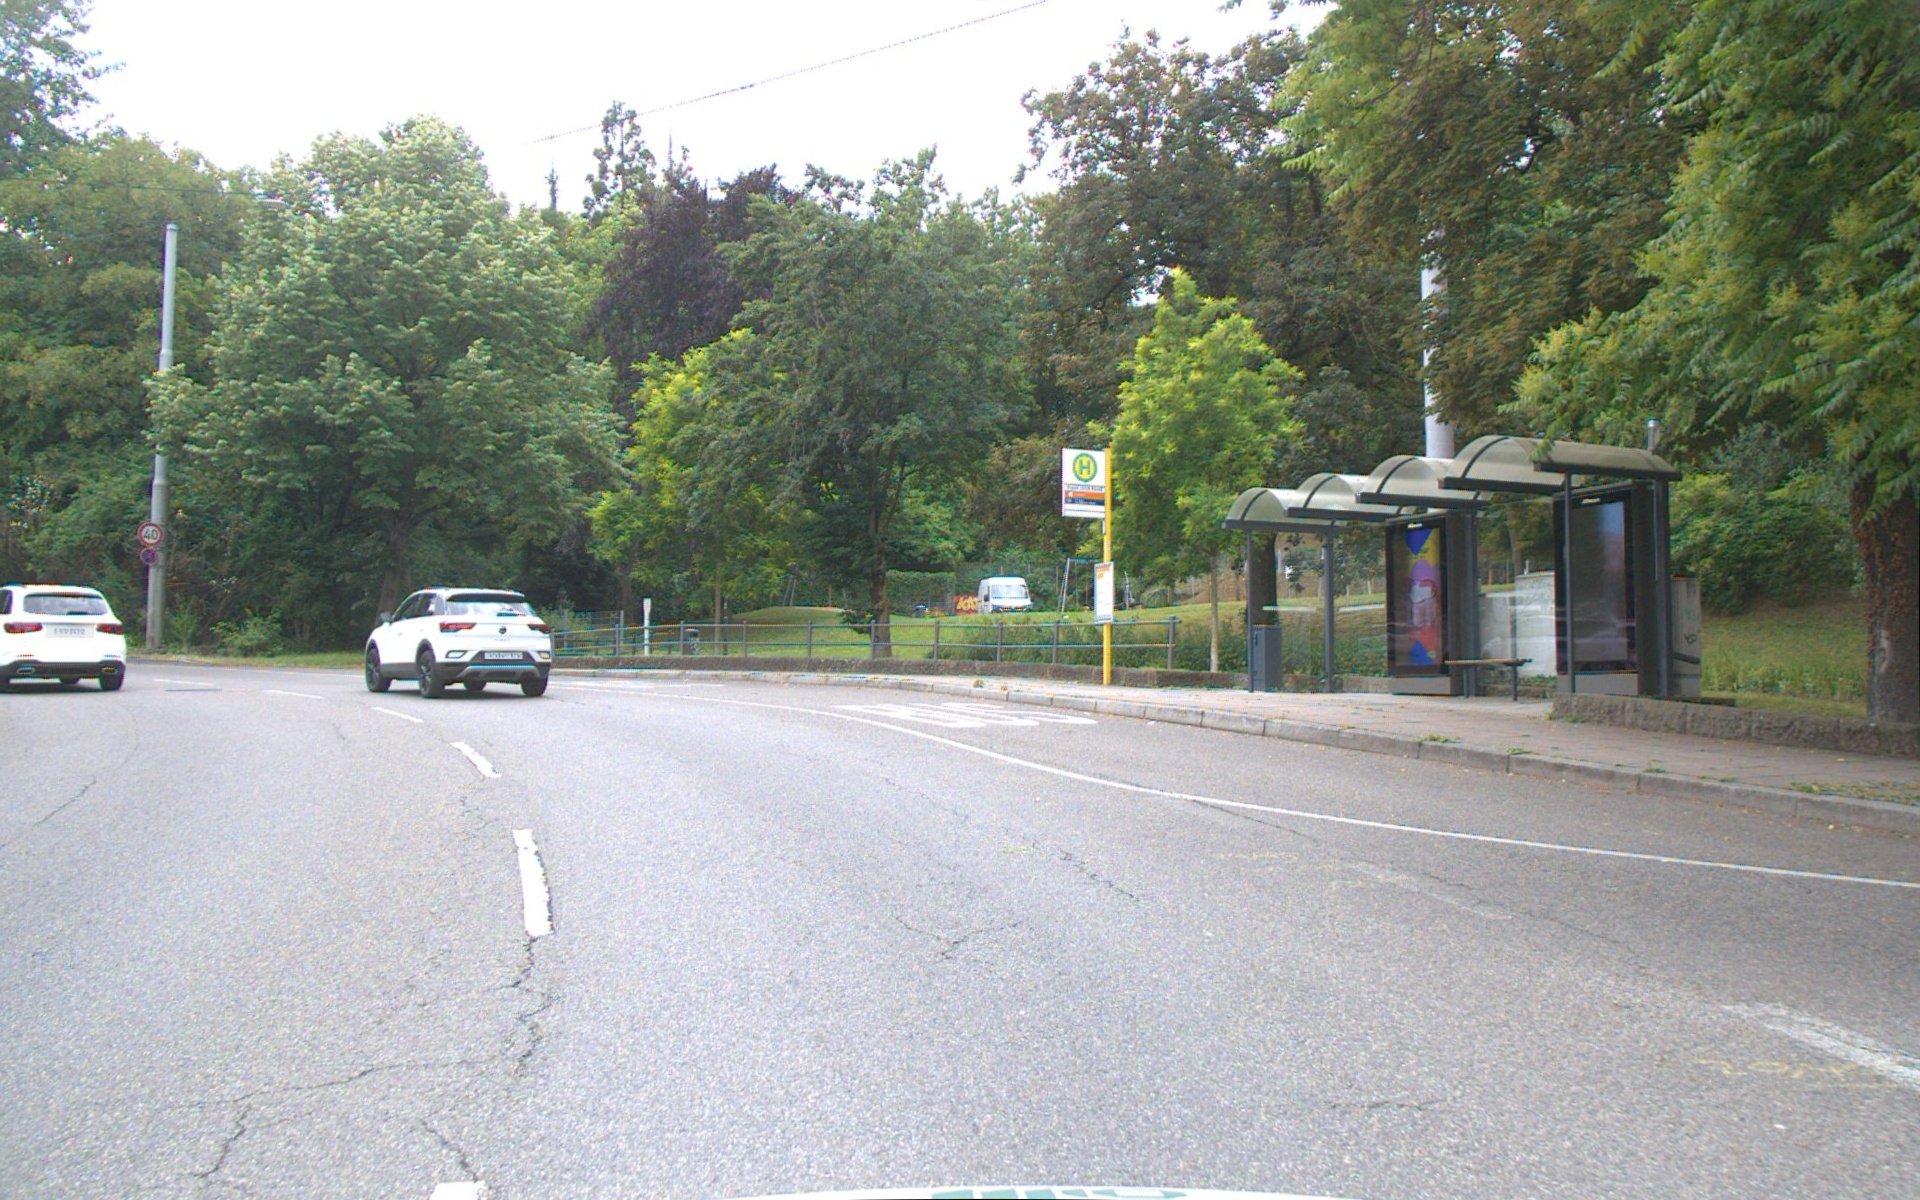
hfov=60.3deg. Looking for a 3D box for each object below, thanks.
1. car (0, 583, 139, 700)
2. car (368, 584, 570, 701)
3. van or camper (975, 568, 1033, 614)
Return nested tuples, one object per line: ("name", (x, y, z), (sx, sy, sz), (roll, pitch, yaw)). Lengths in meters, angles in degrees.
("car", (-14.885, 0.588, 26.822), (1.866, 1.680, 4.278), (-2, 2, -40))
("car", (-7.409, 0.570, 24.730), (1.848, 1.583, 3.848), (0, 0, -34))
("van or camper", (2.046, -0.419, 78.195), (2.258, 2.049, 5.438), (0, 0, -3))
